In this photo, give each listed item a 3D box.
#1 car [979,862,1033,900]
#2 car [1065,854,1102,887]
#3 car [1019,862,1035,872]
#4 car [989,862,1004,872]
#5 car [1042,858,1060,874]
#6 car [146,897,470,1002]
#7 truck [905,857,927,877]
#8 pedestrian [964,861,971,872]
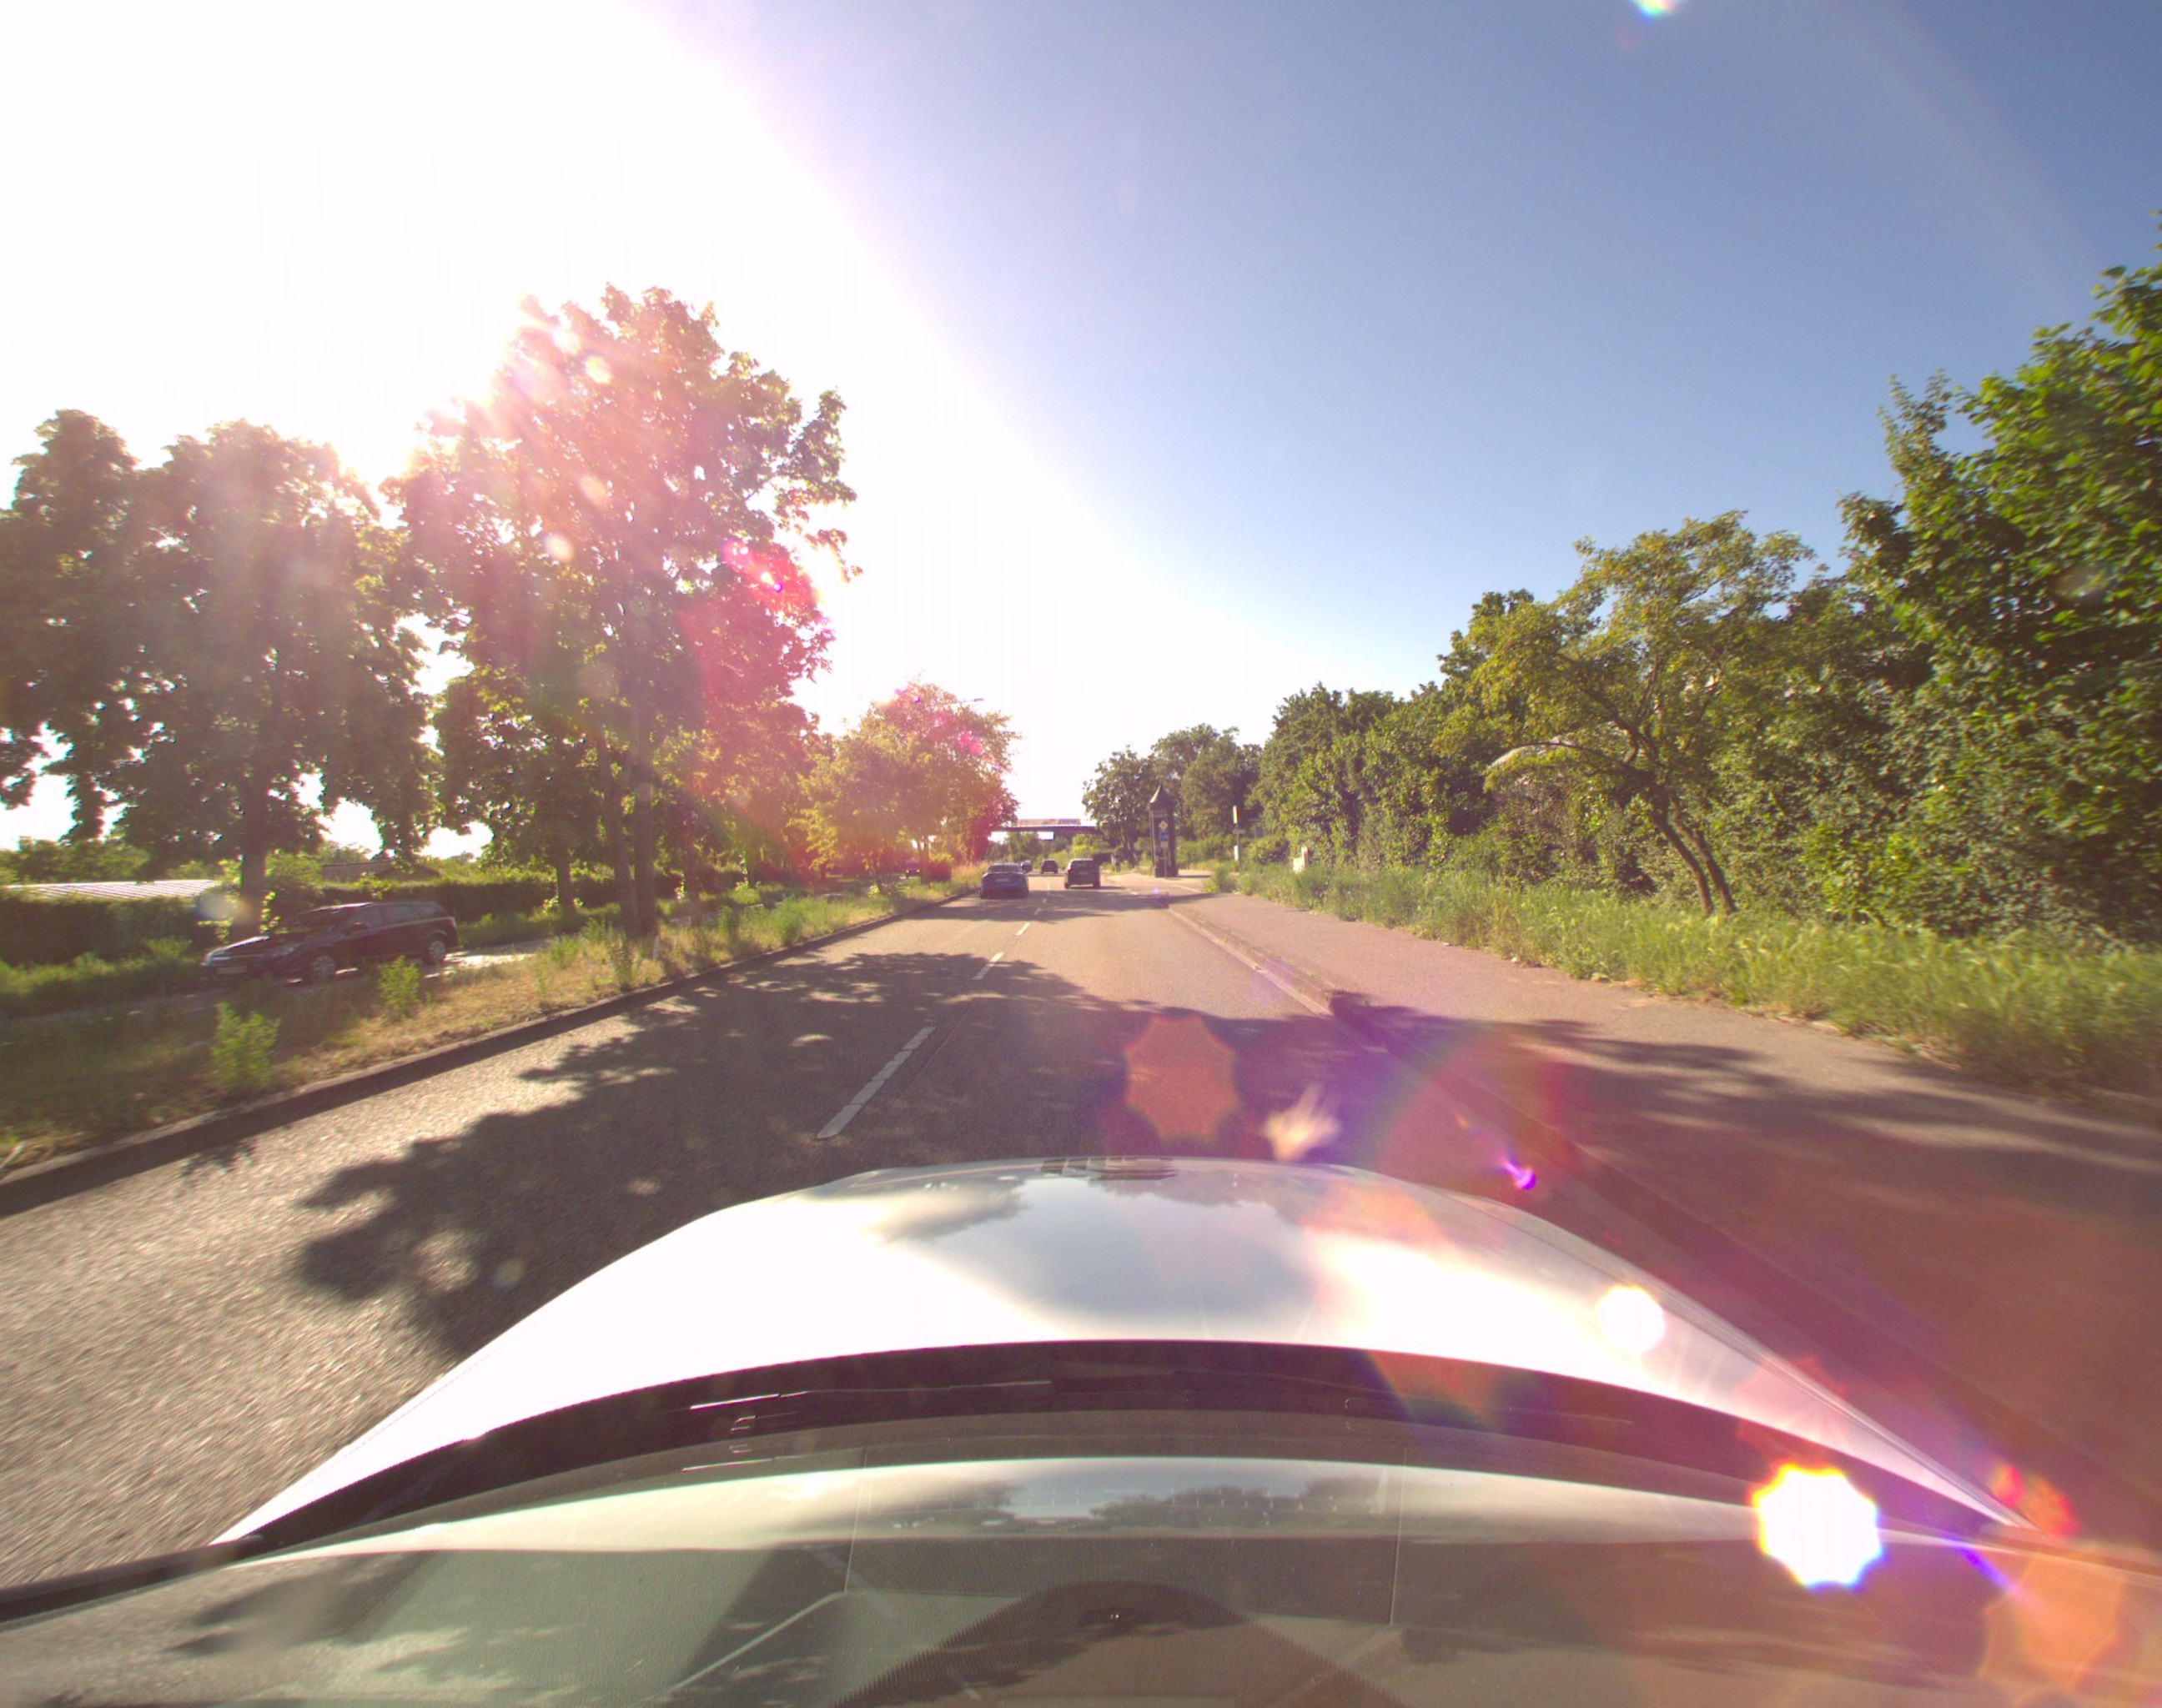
[{"bbox_3d":[-3.072,1.063,34.015,1.990,1.405,3.996,-2,0,-3],"label":"car"},{"bbox_3d":[0.102,0.867,41.336,1.755,1.559,3.998,-1,-1,-1],"label":"car"},{"bbox_3d":[-8.111,1.944,122.584,1.899,1.356,3.984,-3,0,-11],"label":"car"},{"bbox_3d":[-13.418,2.059,128.838,1.899,1.356,3.984,-3,0,-11],"label":"car"},{"bbox_3d":[-3.257,1.281,88.307,1.741,1.597,4.168,-2,0,-4],"label":"car"},{"bbox_3d":[-15.122,1.770,16.447,1.687,1.436,4.941,-5,0,1],"label":"car"},{"bbox_3d":[-22.799,1.822,112.524,2.169,2.512,5.732,-5,0,-5],"label":"truck"},{"bbox_3d":[-17.000,1.846,122.182,0.625,1.696,0.948,-3,-1,19],"label":"pedestrian"}]
